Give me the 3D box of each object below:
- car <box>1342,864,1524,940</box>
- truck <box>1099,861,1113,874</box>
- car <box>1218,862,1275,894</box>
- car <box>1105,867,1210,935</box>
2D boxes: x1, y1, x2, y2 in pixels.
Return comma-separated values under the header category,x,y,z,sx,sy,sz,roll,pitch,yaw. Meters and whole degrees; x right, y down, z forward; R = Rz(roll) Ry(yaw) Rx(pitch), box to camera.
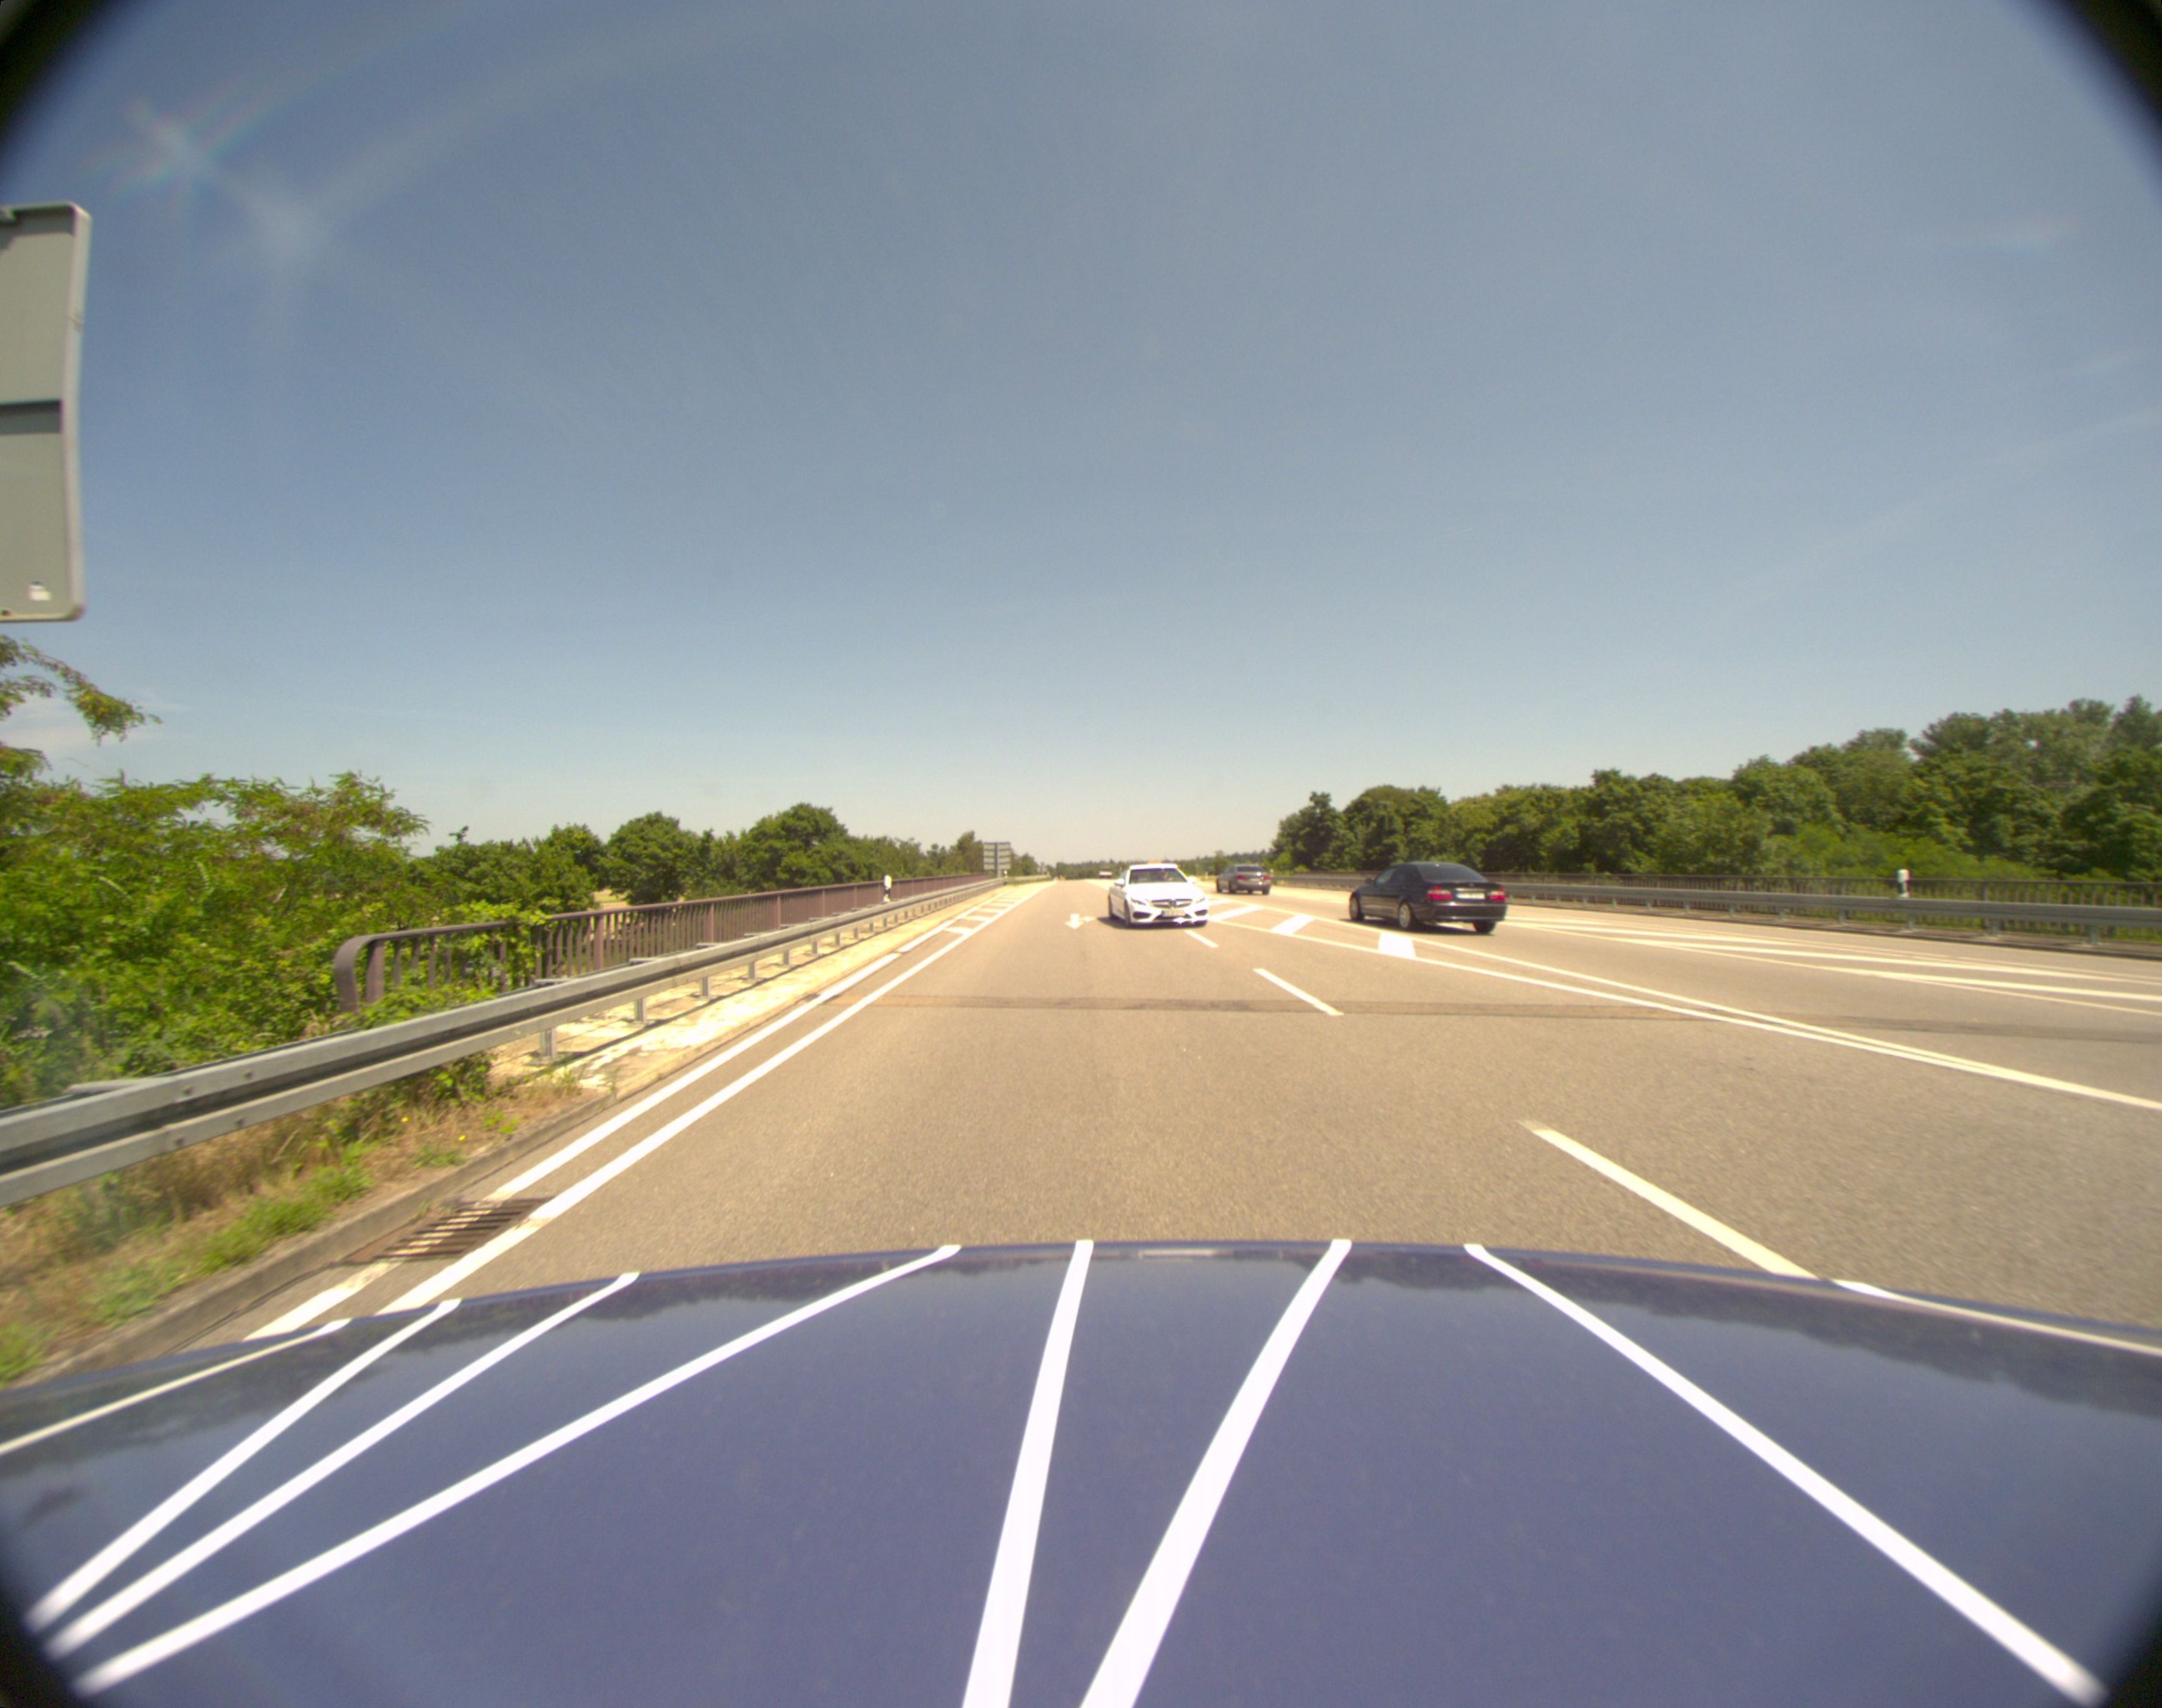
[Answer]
category,x,y,z,sx,sy,sz,roll,pitch,yaw
car,7.289,0.926,16.287,1.739,1.392,4.380,1,-1,-2
truck,4.569,2.459,139.098,2.212,2.229,5.373,-1,-1,-2
car,8.053,1.137,37.495,1.728,1.444,4.794,1,-1,0
car,1.727,1.043,18.440,1.814,1.407,4.109,-2,-1,-4
